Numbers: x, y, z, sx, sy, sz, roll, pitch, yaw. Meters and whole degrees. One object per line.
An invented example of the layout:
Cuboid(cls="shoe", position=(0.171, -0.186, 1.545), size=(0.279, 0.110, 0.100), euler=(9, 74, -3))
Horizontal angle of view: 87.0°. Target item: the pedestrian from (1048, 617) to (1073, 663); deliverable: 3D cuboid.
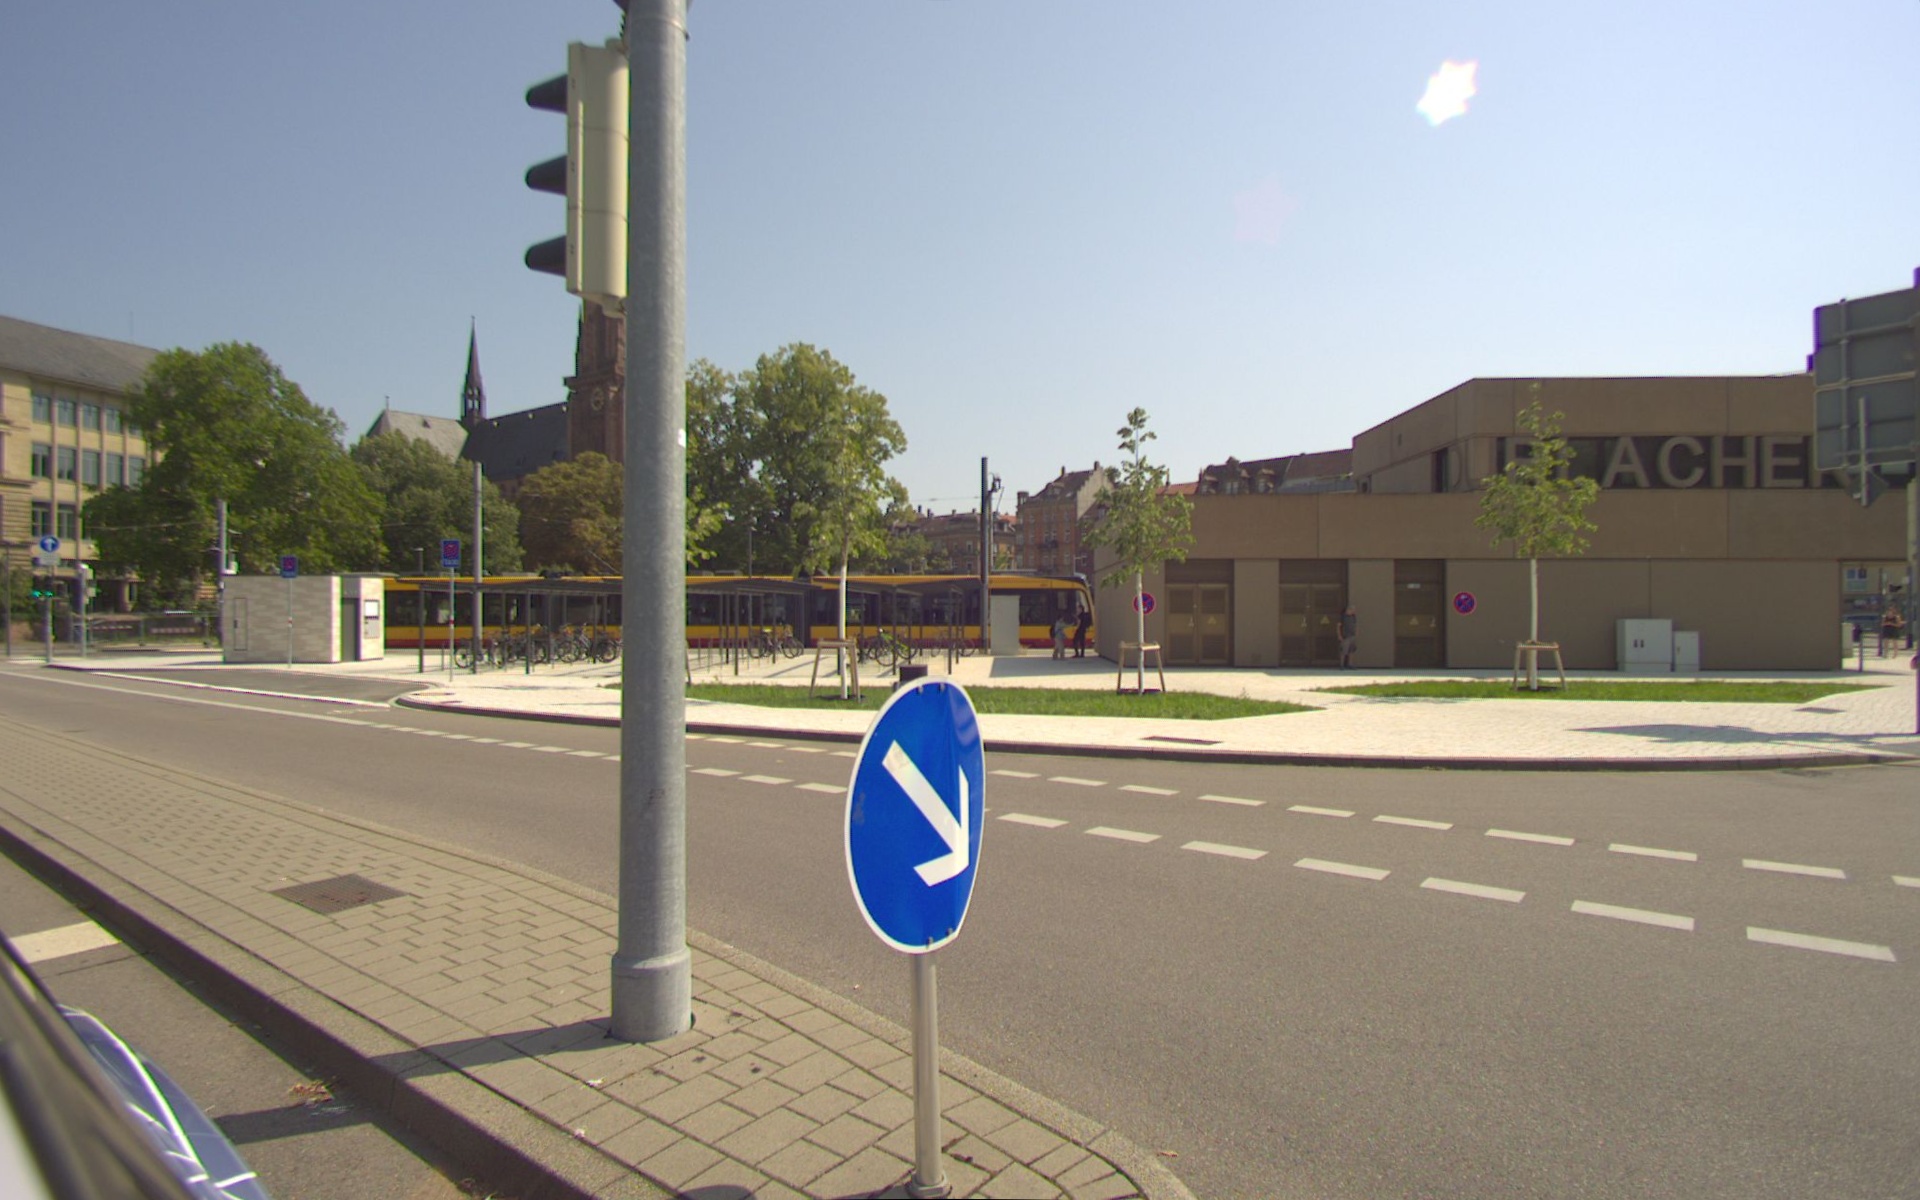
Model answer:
Cuboid(cls="pedestrian", position=(3.199, 1.257, 32.143), size=(0.667, 1.421, 0.438), euler=(-1, -1, 37))

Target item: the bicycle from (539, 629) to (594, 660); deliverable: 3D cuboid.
Cuboid(cls="bicycle", position=(-13.864, 1.562, 35.660), size=(1.748, 1.048, 0.526), euler=(-1, -1, 6))

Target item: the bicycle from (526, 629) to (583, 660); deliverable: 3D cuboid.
Cuboid(cls="bicycle", position=(-13.809, 1.512, 34.467), size=(1.748, 1.048, 0.526), euler=(-1, -1, 6))

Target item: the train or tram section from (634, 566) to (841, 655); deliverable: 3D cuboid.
Cuboid(cls="train or tram section", position=(-9.700, 0.519, 44.748), size=(8.413, 3.625, 3.159), euler=(-1, -2, 3))

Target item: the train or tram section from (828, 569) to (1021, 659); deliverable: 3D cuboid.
Cuboid(cls="train or tram section", position=(-1.459, 0.653, 44.295), size=(8.137, 3.625, 3.159), euler=(-1, -2, 3))

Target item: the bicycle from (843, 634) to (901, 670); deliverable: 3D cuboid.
Cuboid(cls="bicycle", position=(-2.613, 1.532, 30.070), size=(1.709, 1.048, 0.514), euler=(0, -1, -4))

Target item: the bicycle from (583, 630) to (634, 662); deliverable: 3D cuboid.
Cuboid(cls="bicycle", position=(-11.891, 1.558, 34.261), size=(1.620, 1.048, 0.412), euler=(-1, -1, 6))

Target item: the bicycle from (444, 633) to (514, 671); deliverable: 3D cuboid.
Cuboid(cls="bicycle", position=(-14.003, 1.501, 29.471), size=(1.842, 1.090, 0.526), euler=(-1, -1, 6))

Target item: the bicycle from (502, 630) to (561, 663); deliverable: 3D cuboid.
Cuboid(cls="bicycle", position=(-14.056, 1.517, 33.179), size=(1.748, 1.048, 0.526), euler=(-1, -1, 6))

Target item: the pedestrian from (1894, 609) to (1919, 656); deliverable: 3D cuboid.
Cuboid(cls="pedestrian", position=(31.495, 1.064, 33.564), size=(0.564, 1.550, 0.491), euler=(0, -1, 2))

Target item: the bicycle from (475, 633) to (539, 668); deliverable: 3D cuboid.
Cuboid(cls="bicycle", position=(-13.781, 1.526, 30.807), size=(1.748, 1.048, 0.526), euler=(-1, -1, 6))

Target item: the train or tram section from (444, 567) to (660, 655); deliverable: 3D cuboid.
Cuboid(cls="train or tram section", position=(-18.092, 0.524, 45.214), size=(8.413, 3.625, 3.159), euler=(-1, -2, 3))

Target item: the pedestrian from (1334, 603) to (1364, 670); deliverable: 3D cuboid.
Cuboid(cls="pedestrian", position=(9.838, 0.918, 25.602), size=(0.529, 1.691, 0.568), euler=(0, -1, 2))

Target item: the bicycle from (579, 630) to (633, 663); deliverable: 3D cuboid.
Cuboid(cls="bicycle", position=(-11.512, 1.502, 32.912), size=(1.620, 1.048, 0.412), euler=(-1, -1, 6))

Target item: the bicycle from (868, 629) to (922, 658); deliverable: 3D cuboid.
Cuboid(cls="bicycle", position=(-2.270, 1.517, 35.215), size=(1.831, 0.993, 0.513), euler=(0, -1, 2))

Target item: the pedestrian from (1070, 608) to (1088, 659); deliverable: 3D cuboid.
Cuboid(cls="pedestrian", position=(3.974, 1.113, 33.774), size=(0.561, 1.691, 0.443), euler=(0, -1, 3))

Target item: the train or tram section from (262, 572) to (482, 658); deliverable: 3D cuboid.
Cuboid(cls="train or tram section", position=(-26.382, 0.730, 45.658), size=(8.217, 3.588, 3.135), euler=(-1, -2, 3))

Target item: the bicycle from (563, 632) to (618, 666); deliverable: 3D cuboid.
Cuboid(cls="bicycle", position=(-11.635, 1.551, 31.848), size=(1.620, 1.048, 0.412), euler=(-1, -1, 6))

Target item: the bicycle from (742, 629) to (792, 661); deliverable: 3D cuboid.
Cuboid(cls="bicycle", position=(-6.485, 1.506, 34.019), size=(1.620, 1.048, 0.412), euler=(-1, -1, 6))

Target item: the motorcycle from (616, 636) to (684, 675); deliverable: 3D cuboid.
Cuboid(cls="motorcycle", position=(-8.584, 1.533, 28.002), size=(1.757, 1.077, 0.490), euler=(-1, -1, 6))

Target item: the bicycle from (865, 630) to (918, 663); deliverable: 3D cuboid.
Cuboid(cls="bicycle", position=(-2.276, 1.527, 33.506), size=(1.707, 1.048, 0.514), euler=(0, -1, -10))

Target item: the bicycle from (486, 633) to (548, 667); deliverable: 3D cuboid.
Cuboid(cls="bicycle", position=(-13.794, 1.547, 31.515), size=(1.748, 1.048, 0.526), euler=(-1, -1, 6))

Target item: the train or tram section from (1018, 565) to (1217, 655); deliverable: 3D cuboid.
Cuboid(cls="train or tram section", position=(6.646, 0.489, 43.878), size=(8.134, 3.597, 3.142), euler=(-1, -2, 3))
